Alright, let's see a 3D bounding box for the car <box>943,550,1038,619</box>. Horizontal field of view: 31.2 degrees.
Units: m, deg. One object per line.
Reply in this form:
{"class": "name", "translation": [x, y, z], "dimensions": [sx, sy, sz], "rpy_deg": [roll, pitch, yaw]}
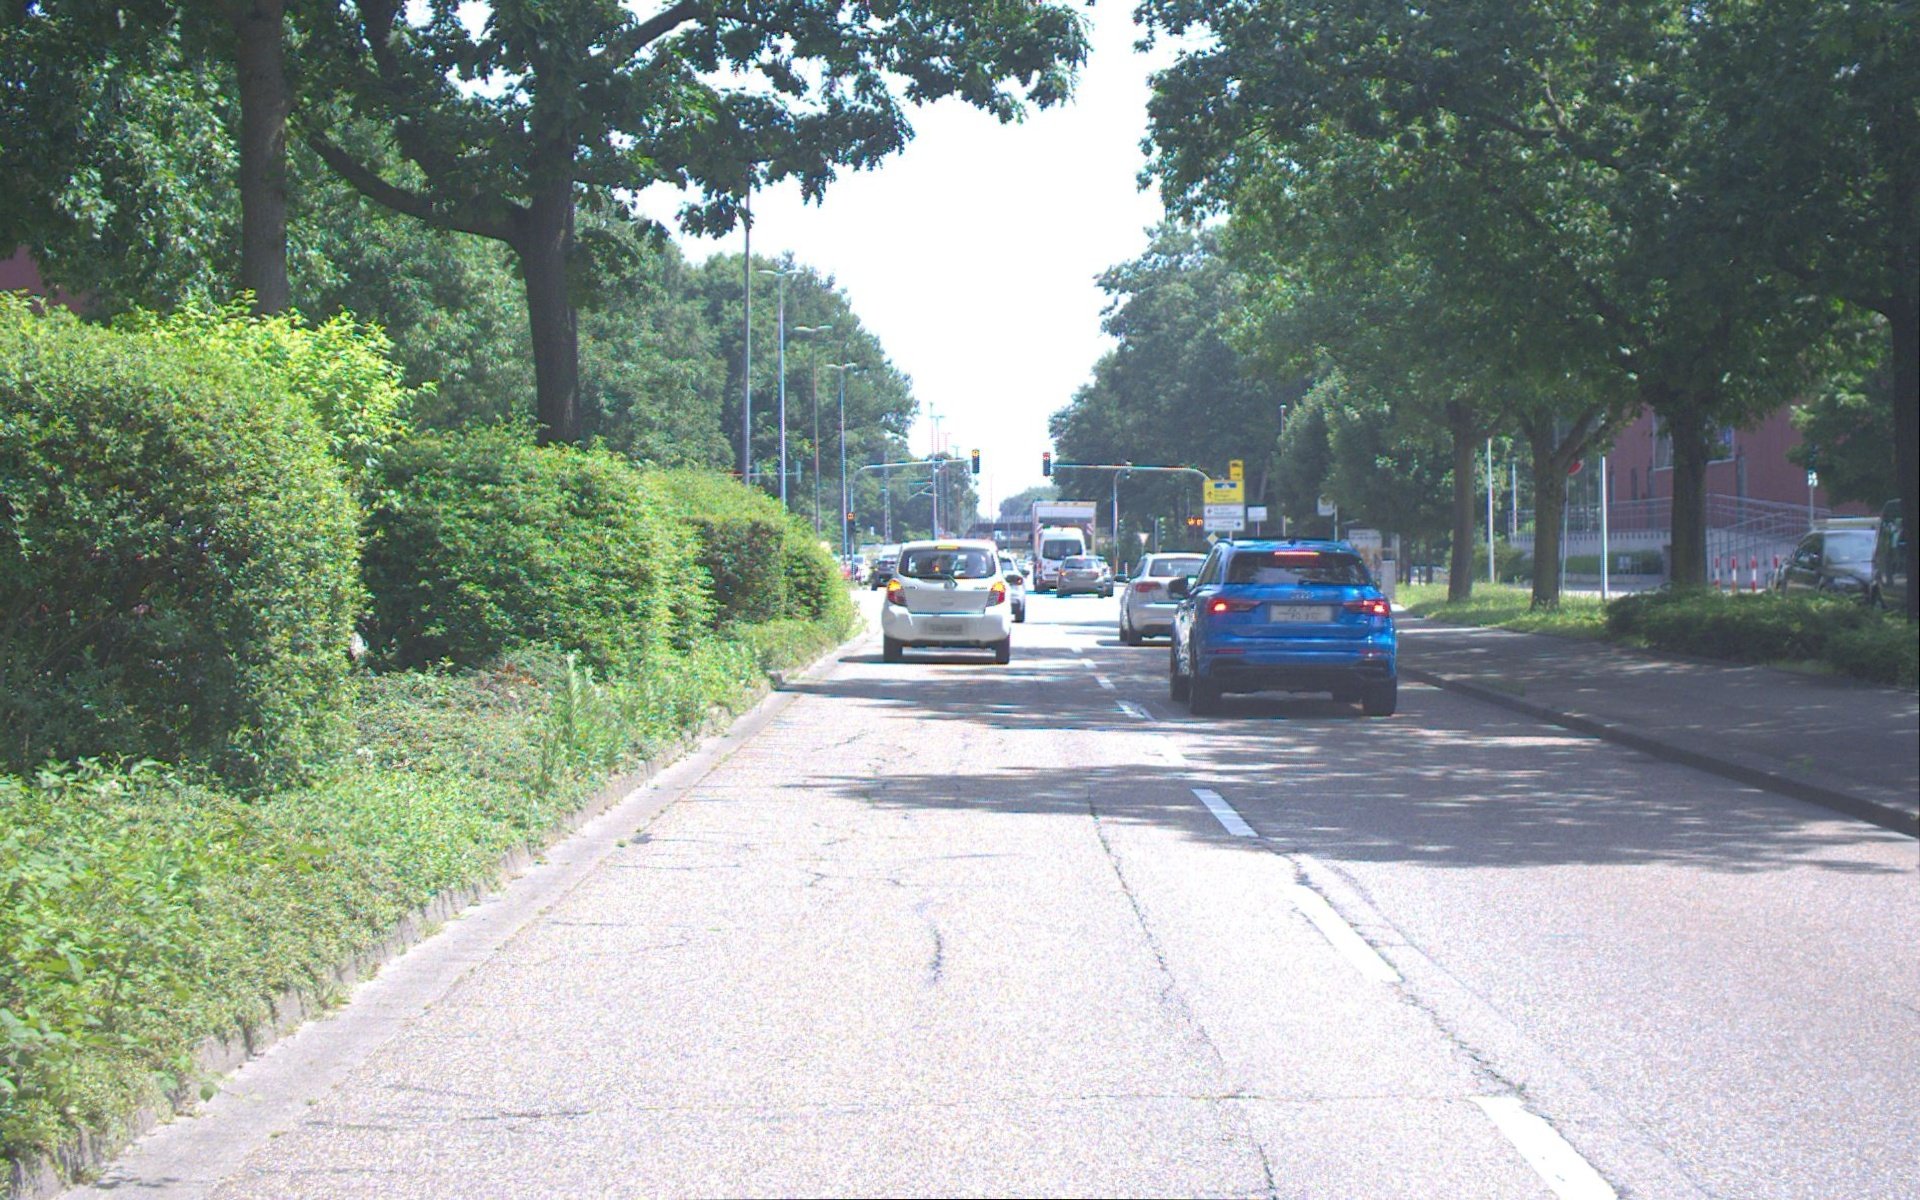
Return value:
{"class": "car", "translation": [0.624, -0.313, 70.256], "dimensions": [1.885, 1.349, 4.000], "rpy_deg": [0, 0, 1]}

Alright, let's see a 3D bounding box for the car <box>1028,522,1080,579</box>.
{"class": "car", "translation": [3.789, -2.012, 138.744], "dimensions": [1.993, 2.248, 4.000], "rpy_deg": [-1, 1, 1]}

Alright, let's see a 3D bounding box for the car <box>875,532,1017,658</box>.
{"class": "car", "translation": [-0.212, -0.072, 43.951], "dimensions": [1.638, 1.547, 3.325], "rpy_deg": [0, 0, -3]}

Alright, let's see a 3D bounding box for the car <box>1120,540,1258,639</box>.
{"class": "car", "translation": [3.500, -0.162, 53.218], "dimensions": [1.865, 1.468, 4.000], "rpy_deg": [0, 0, 0]}

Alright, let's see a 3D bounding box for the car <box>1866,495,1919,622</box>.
{"class": "car", "translation": [13.148, -0.536, 44.907], "dimensions": [1.700, 1.632, 3.905], "rpy_deg": [0, 0, 2]}

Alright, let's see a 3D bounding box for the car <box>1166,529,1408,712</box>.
{"class": "car", "translation": [2.987, 0.168, 32.221], "dimensions": [1.808, 1.587, 4.349], "rpy_deg": [0, 0, 0]}

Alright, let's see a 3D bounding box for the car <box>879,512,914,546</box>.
{"class": "car", "translation": [-3.863, -4.323, 208.460], "dimensions": [1.993, 2.007, 4.001], "rpy_deg": [-1, 1, -2]}

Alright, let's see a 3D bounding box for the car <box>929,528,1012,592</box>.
{"class": "car", "translation": [0.234, -0.960, 84.127], "dimensions": [1.794, 1.518, 4.000], "rpy_deg": [0, 0, -3]}

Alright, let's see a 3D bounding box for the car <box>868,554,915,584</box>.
{"class": "car", "translation": [-3.059, -1.409, 154.048], "dimensions": [1.993, 1.284, 4.000], "rpy_deg": [-1, 1, 1]}

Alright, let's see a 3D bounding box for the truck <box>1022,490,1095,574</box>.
{"class": "truck", "translation": [4.241, -2.924, 149.185], "dimensions": [2.932, 3.490, 9.158], "rpy_deg": [-1, 1, 1]}

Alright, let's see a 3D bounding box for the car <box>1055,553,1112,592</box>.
{"class": "car", "translation": [4.416, -0.992, 123.039], "dimensions": [1.865, 1.305, 4.000], "rpy_deg": [-1, 1, 0]}

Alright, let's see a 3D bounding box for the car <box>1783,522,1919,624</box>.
{"class": "car", "translation": [13.351, -0.388, 50.498], "dimensions": [1.701, 1.420, 4.653], "rpy_deg": [0, 0, 4]}
